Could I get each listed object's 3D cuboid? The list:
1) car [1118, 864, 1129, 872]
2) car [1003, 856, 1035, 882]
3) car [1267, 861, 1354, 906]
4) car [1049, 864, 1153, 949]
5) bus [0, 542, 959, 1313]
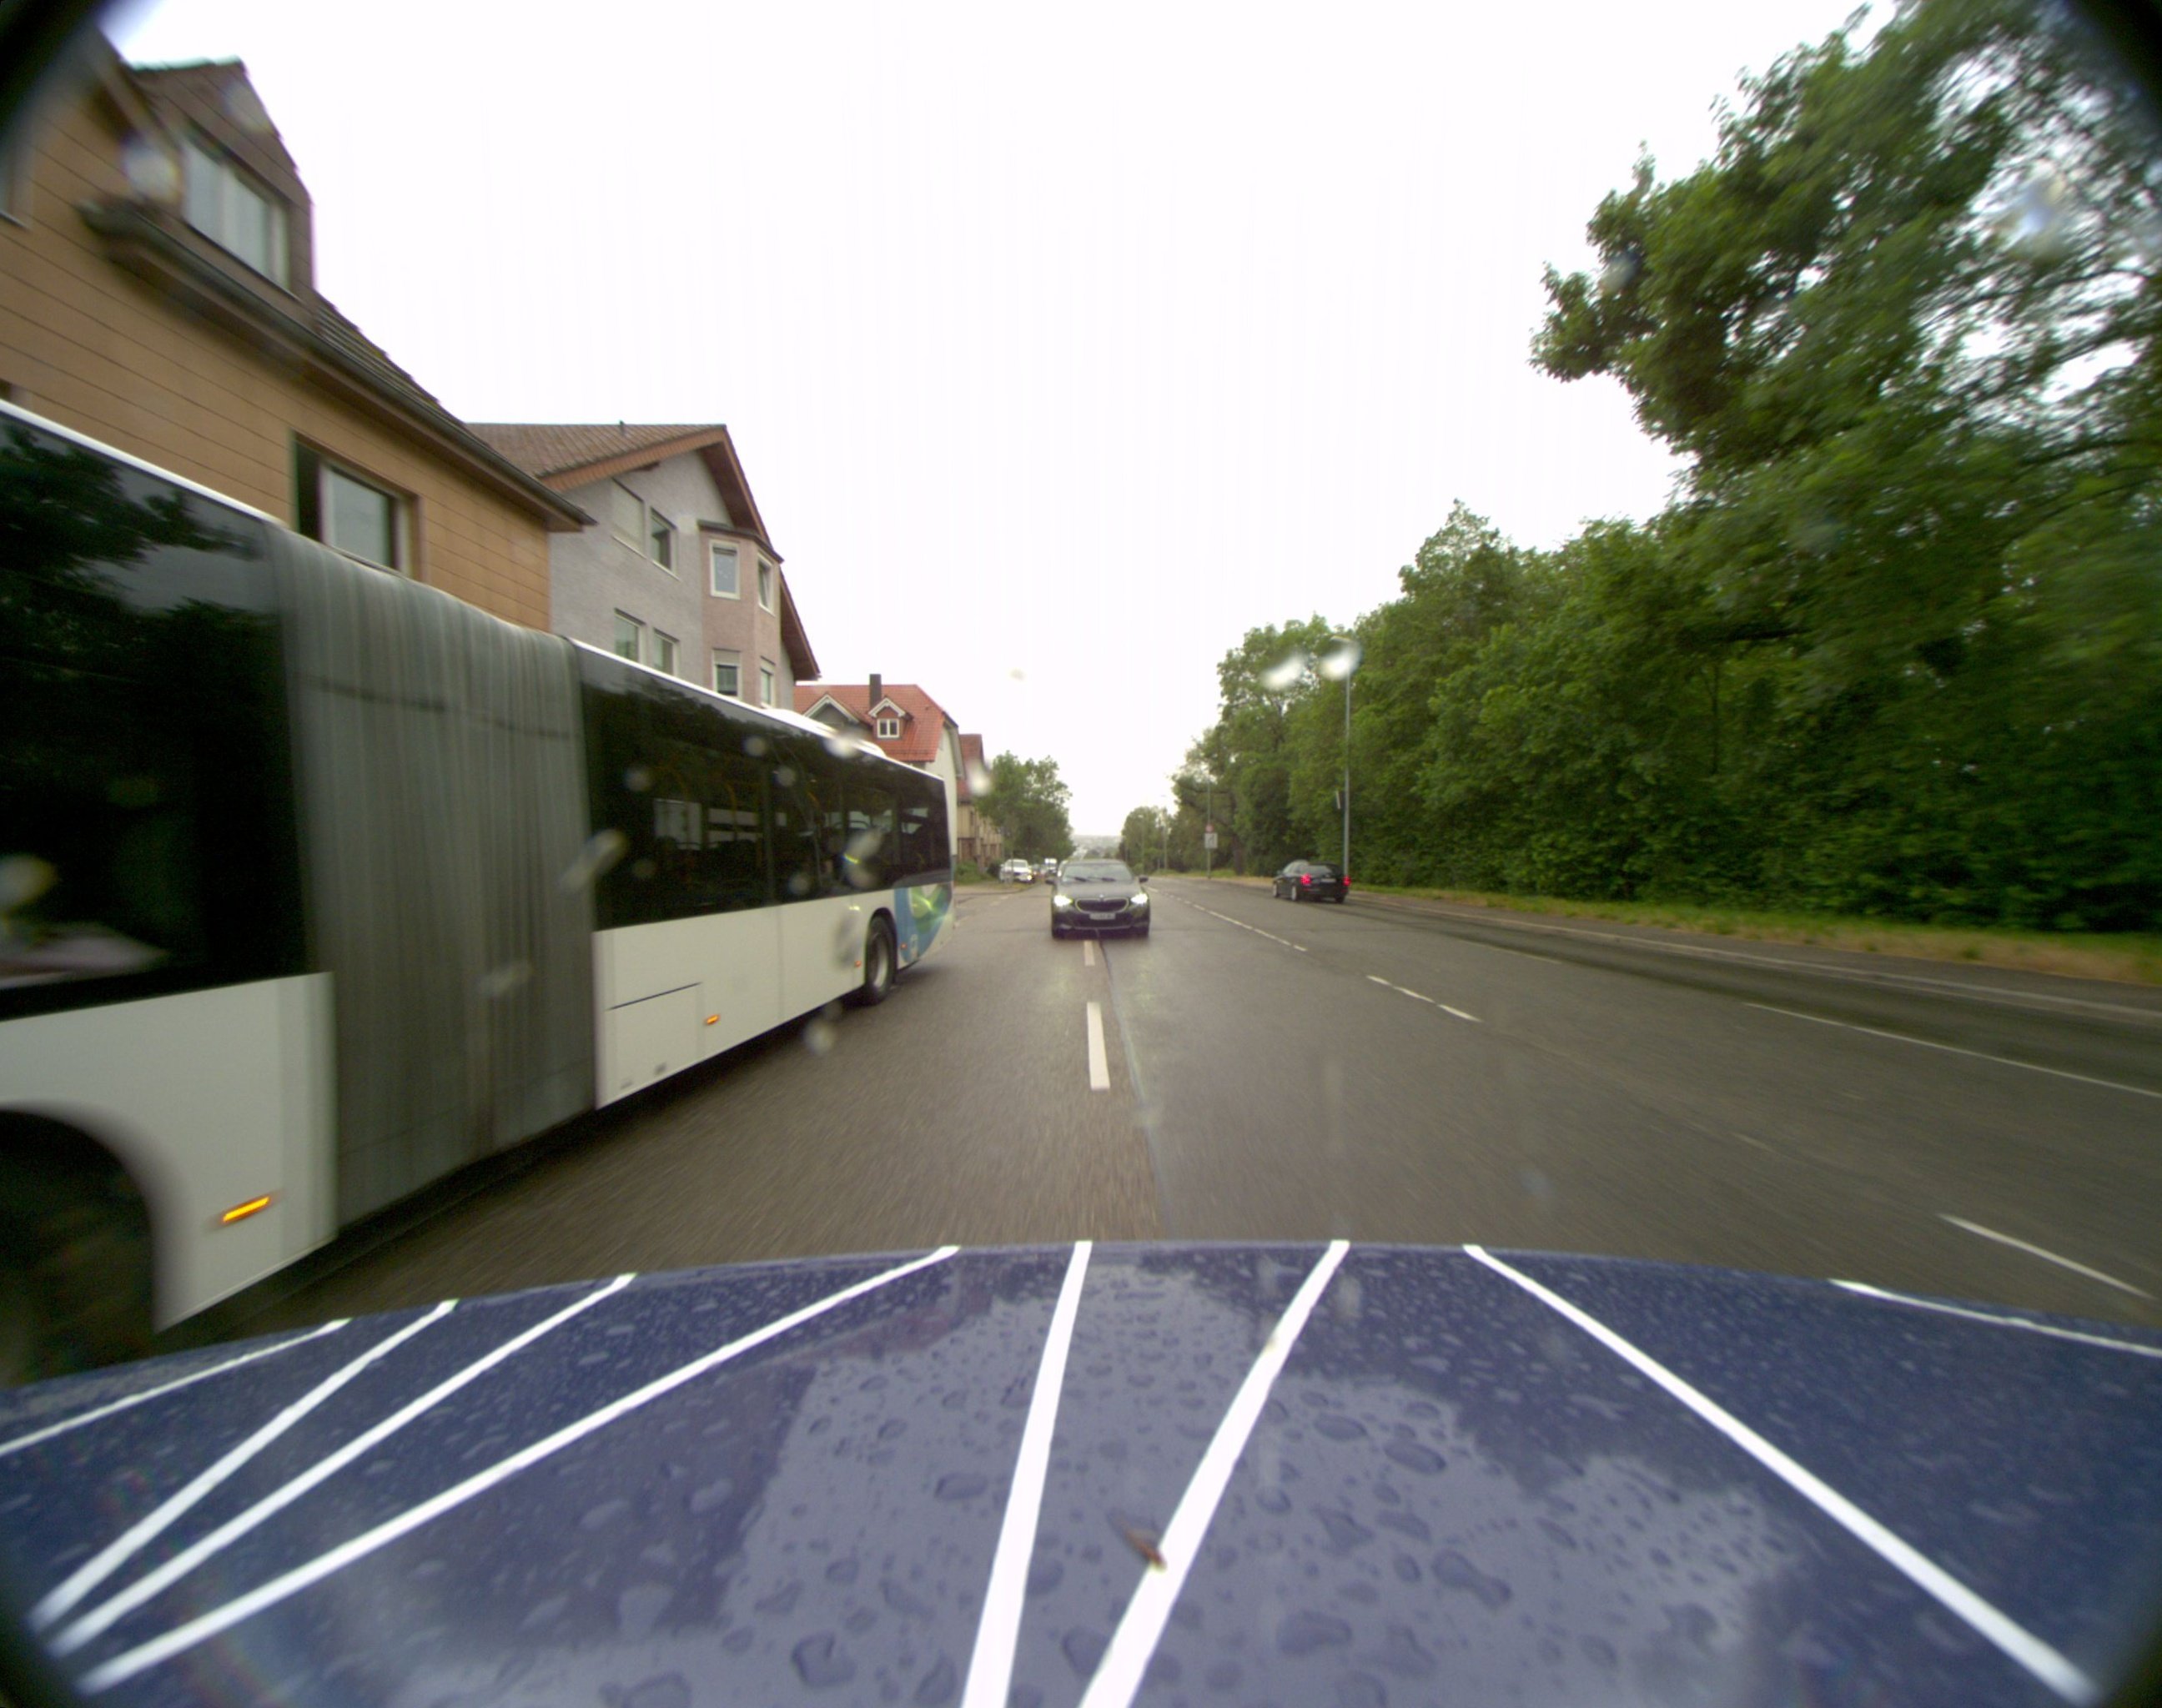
[{"bbox_3d":[8.491,2.804,152.090,1.890,1.587,4.363,0,0,1],"label":"car"},{"bbox_3d":[-4.154,1.012,51.468,1.927,1.651,4.483,-1,-1,-1],"label":"car"},{"bbox_3d":[8.220,1.000,27.608,1.748,1.423,4.388,2,0,-1],"label":"car"},{"bbox_3d":[0.364,0.970,15.966,1.855,1.461,4.483,1,0,0],"label":"car"},{"bbox_3d":[-3.491,0.309,7.257,2.561,2.942,8.560,-1,0,5],"label":"bus"}]
